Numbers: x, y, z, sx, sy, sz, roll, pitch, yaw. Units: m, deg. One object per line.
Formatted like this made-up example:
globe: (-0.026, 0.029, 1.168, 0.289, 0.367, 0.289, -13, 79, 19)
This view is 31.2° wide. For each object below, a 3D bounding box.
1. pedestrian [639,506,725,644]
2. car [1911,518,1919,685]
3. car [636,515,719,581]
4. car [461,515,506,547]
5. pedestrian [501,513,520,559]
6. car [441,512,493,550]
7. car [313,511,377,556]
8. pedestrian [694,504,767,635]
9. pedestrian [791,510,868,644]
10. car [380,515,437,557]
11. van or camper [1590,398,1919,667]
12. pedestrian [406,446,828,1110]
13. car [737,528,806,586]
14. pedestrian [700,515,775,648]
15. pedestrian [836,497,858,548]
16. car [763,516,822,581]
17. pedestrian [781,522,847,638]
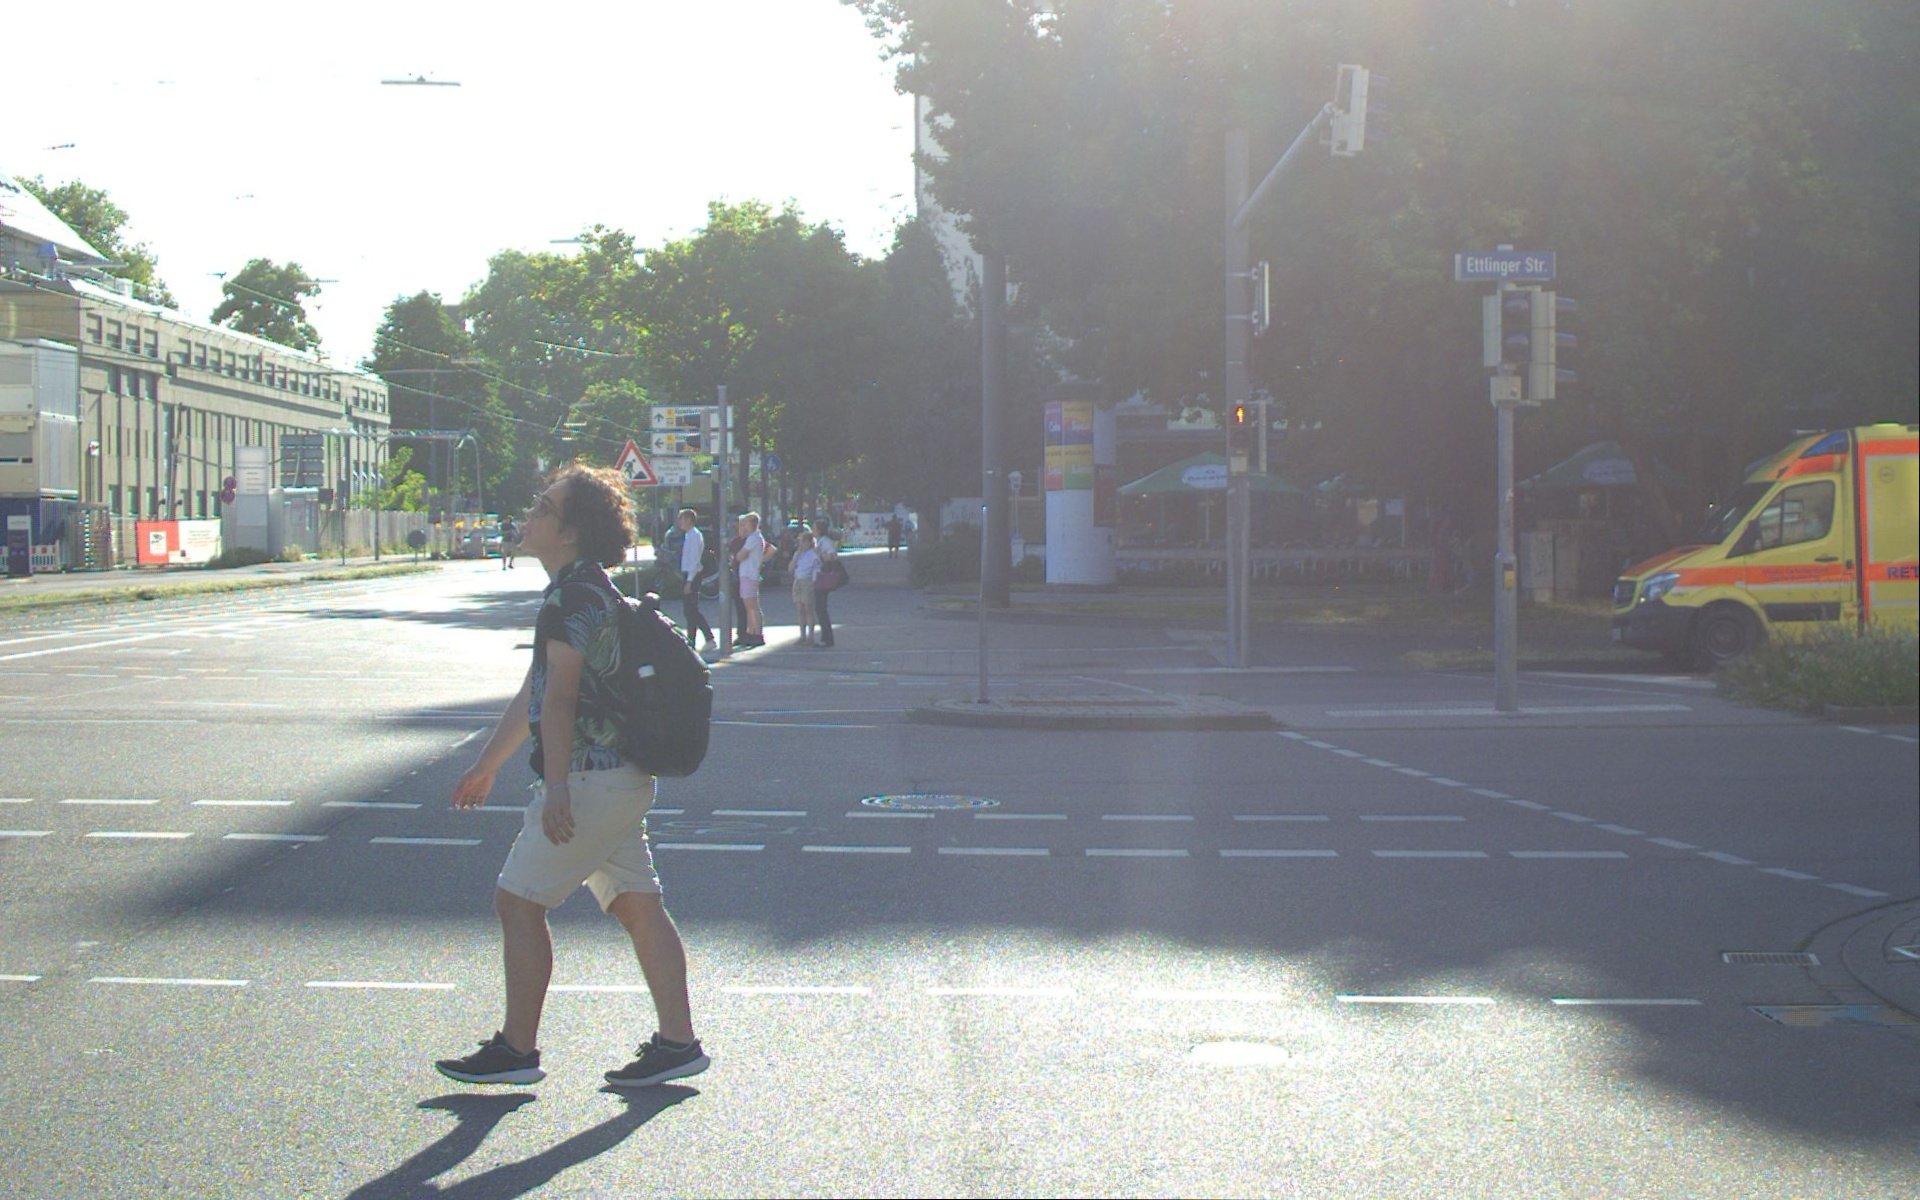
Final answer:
pedestrian: (-3.642, -0.330, 45.038, 0.965, 1.778, 0.780, -1, 1, -16)
car: (11.594, 0.070, 33.094, 4.314, 1.641, 1.888, 1, 0, 0)
car: (-6.715, -1.223, 82.002, 1.684, 1.495, 3.509, 1, 0, -1)
car: (-22.184, -3.210, 160.155, 1.609, 1.493, 3.806, -1, 1, -1)
pedestrian: (-14.733, -2.091, 112.737, 0.524, 1.479, 0.437, 1, 0, -1)
car: (-22.370, -3.139, 156.156, 1.819, 1.706, 3.806, -1, 1, -1)
car: (-23.885, -2.594, 133.610, 1.819, 1.706, 3.806, -1, 1, -1)
pedestrian: (-3.168, -0.428, 47.422, 0.847, 1.778, 0.780, -1, 1, -16)
pedestrian: (-1.749, -0.312, 46.006, 0.847, 1.778, 0.780, -1, 1, -16)
car: (-23.161, -2.685, 144.513, 1.819, 1.706, 3.806, -1, 1, -1)
van or camper: (10.694, -0.700, 38.805, 6.709, 2.852, 2.910, 1, 0, 4)
pedestrian: (-0.971, 0.447, 9.494, 1.039, 1.715, 1.035, -1, 1, -12)
car: (-5.036, -1.131, 92.160, 1.684, 1.495, 3.509, 1, 0, -1)
pedestrian: (-3.024, -0.261, 46.608, 0.847, 1.778, 0.780, -1, 1, -16)
pedestrian: (-8.094, -5.547, 246.076, 1.401, 3.584, 1.568, 1, 0, -1)
car: (-5.250, -1.606, 107.971, 1.684, 1.955, 3.509, 1, 0, -1)
pedestrian: (-1.992, -0.274, 46.738, 0.762, 1.553, 0.588, -1, 1, -16)
